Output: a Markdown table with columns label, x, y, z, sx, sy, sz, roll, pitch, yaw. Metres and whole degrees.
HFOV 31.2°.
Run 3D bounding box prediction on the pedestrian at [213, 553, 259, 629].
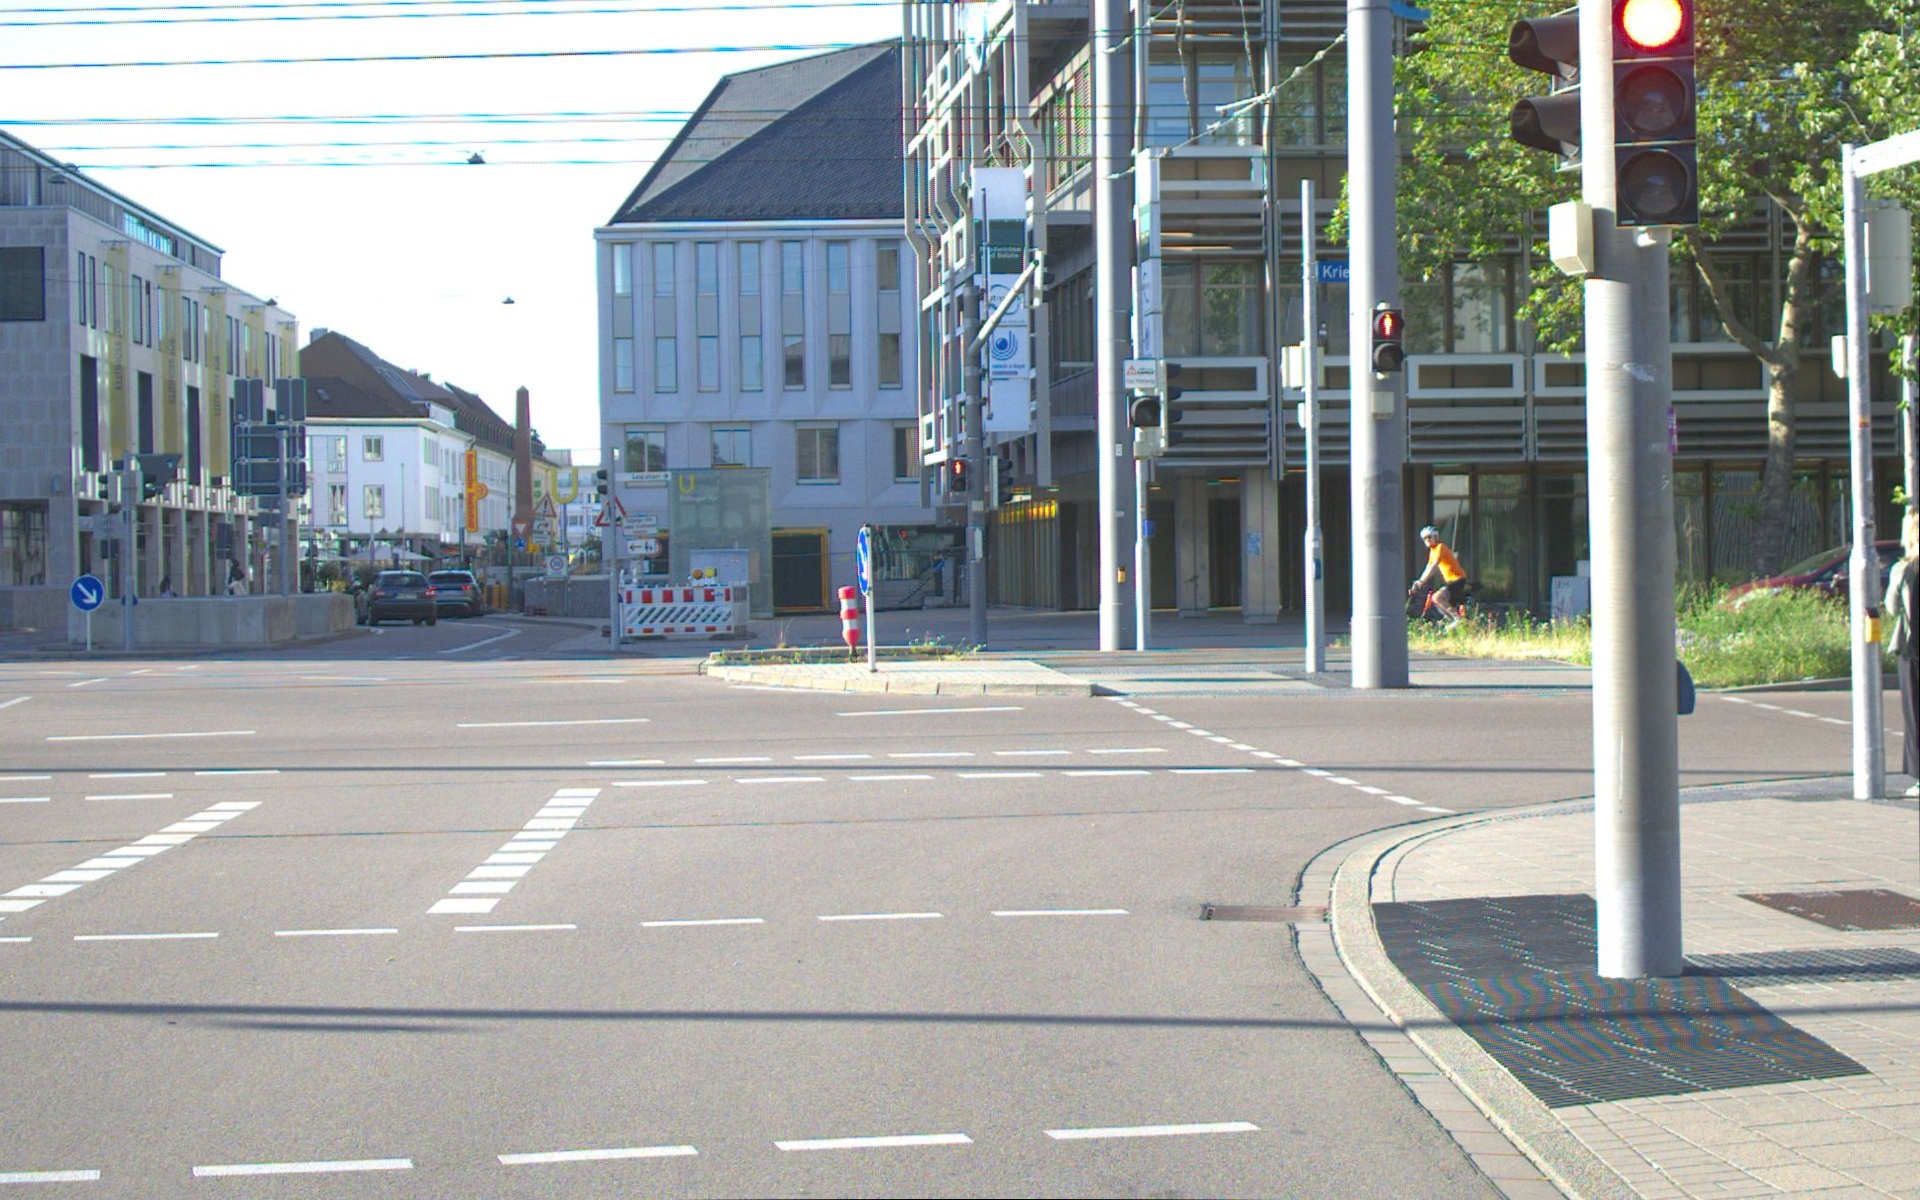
| label | x | y | z | sx | sy | sz | roll | pitch | yaw |
| --- | --- | --- | --- | --- | --- | --- | --- | --- | --- |
| pedestrian | -17.220 | -0.222 | 81.799 | 0.899 | 1.776 | 0.808 | -1 | 1 | -1 |

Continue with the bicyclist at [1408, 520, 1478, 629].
| label | x | y | z | sx | sy | sz | roll | pitch | yaw |
| --- | --- | --- | --- | --- | --- | --- | --- | --- | --- |
| bicyclist | 6.615 | -0.352 | 47.125 | 0.822 | 1.469 | 0.652 | -1 | 1 | -4 |

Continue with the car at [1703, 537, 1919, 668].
| label | x | y | z | sx | sy | sz | roll | pitch | yaw |
| --- | --- | --- | --- | --- | --- | --- | --- | --- | --- |
| car | 12.419 | 0.004 | 46.420 | 4.287 | 1.678 | 1.826 | -1 | 1 | -11 |

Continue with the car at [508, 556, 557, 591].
| label | x | y | z | sx | sy | sz | roll | pitch | yaw |
| --- | --- | --- | --- | --- | --- | --- | --- | --- | --- |
| car | -18.125 | -1.136 | 145.833 | 1.658 | 1.453 | 3.542 | -1 | 1 | -1 |

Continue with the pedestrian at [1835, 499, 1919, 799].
| label | x | y | z | sx | sy | sz | roll | pitch | yaw |
| --- | --- | --- | --- | --- | --- | --- | --- | --- | --- |
| pedestrian | 5.324 | 0.250 | 18.902 | 0.765 | 1.608 | 0.874 | -1 | 1 | -2 |

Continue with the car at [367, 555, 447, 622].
| label | x | y | z | sx | sy | sz | roll | pitch | yaw |
| --- | --- | --- | --- | --- | --- | --- | --- | --- | --- |
| car | -14.380 | -0.314 | 89.579 | 1.819 | 1.678 | 4.001 | -1 | 1 | -6 |

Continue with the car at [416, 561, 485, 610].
| label | x | y | z | sx | sy | sz | roll | pitch | yaw |
| --- | --- | --- | --- | --- | --- | --- | --- | --- | --- |
| car | -16.013 | -0.469 | 108.078 | 1.658 | 1.453 | 3.542 | -1 | 1 | -1 |

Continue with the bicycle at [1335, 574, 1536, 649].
| label | x | y | z | sx | sy | sz | roll | pitch | yaw |
| --- | --- | --- | --- | --- | --- | --- | --- | --- | --- |
| bicycle | 6.504 | 0.156 | 47.118 | 2.568 | 0.972 | 1.047 | -1 | 1 | -3 |

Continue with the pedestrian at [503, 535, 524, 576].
| label | x | y | z | sx | sy | sz | roll | pitch | yaw |
| --- | --- | --- | --- | --- | --- | --- | --- | --- | --- |
| pedestrian | -21.389 | -2.140 | 164.685 | 0.910 | 1.958 | 0.823 | 1 | 0 | -1 |
